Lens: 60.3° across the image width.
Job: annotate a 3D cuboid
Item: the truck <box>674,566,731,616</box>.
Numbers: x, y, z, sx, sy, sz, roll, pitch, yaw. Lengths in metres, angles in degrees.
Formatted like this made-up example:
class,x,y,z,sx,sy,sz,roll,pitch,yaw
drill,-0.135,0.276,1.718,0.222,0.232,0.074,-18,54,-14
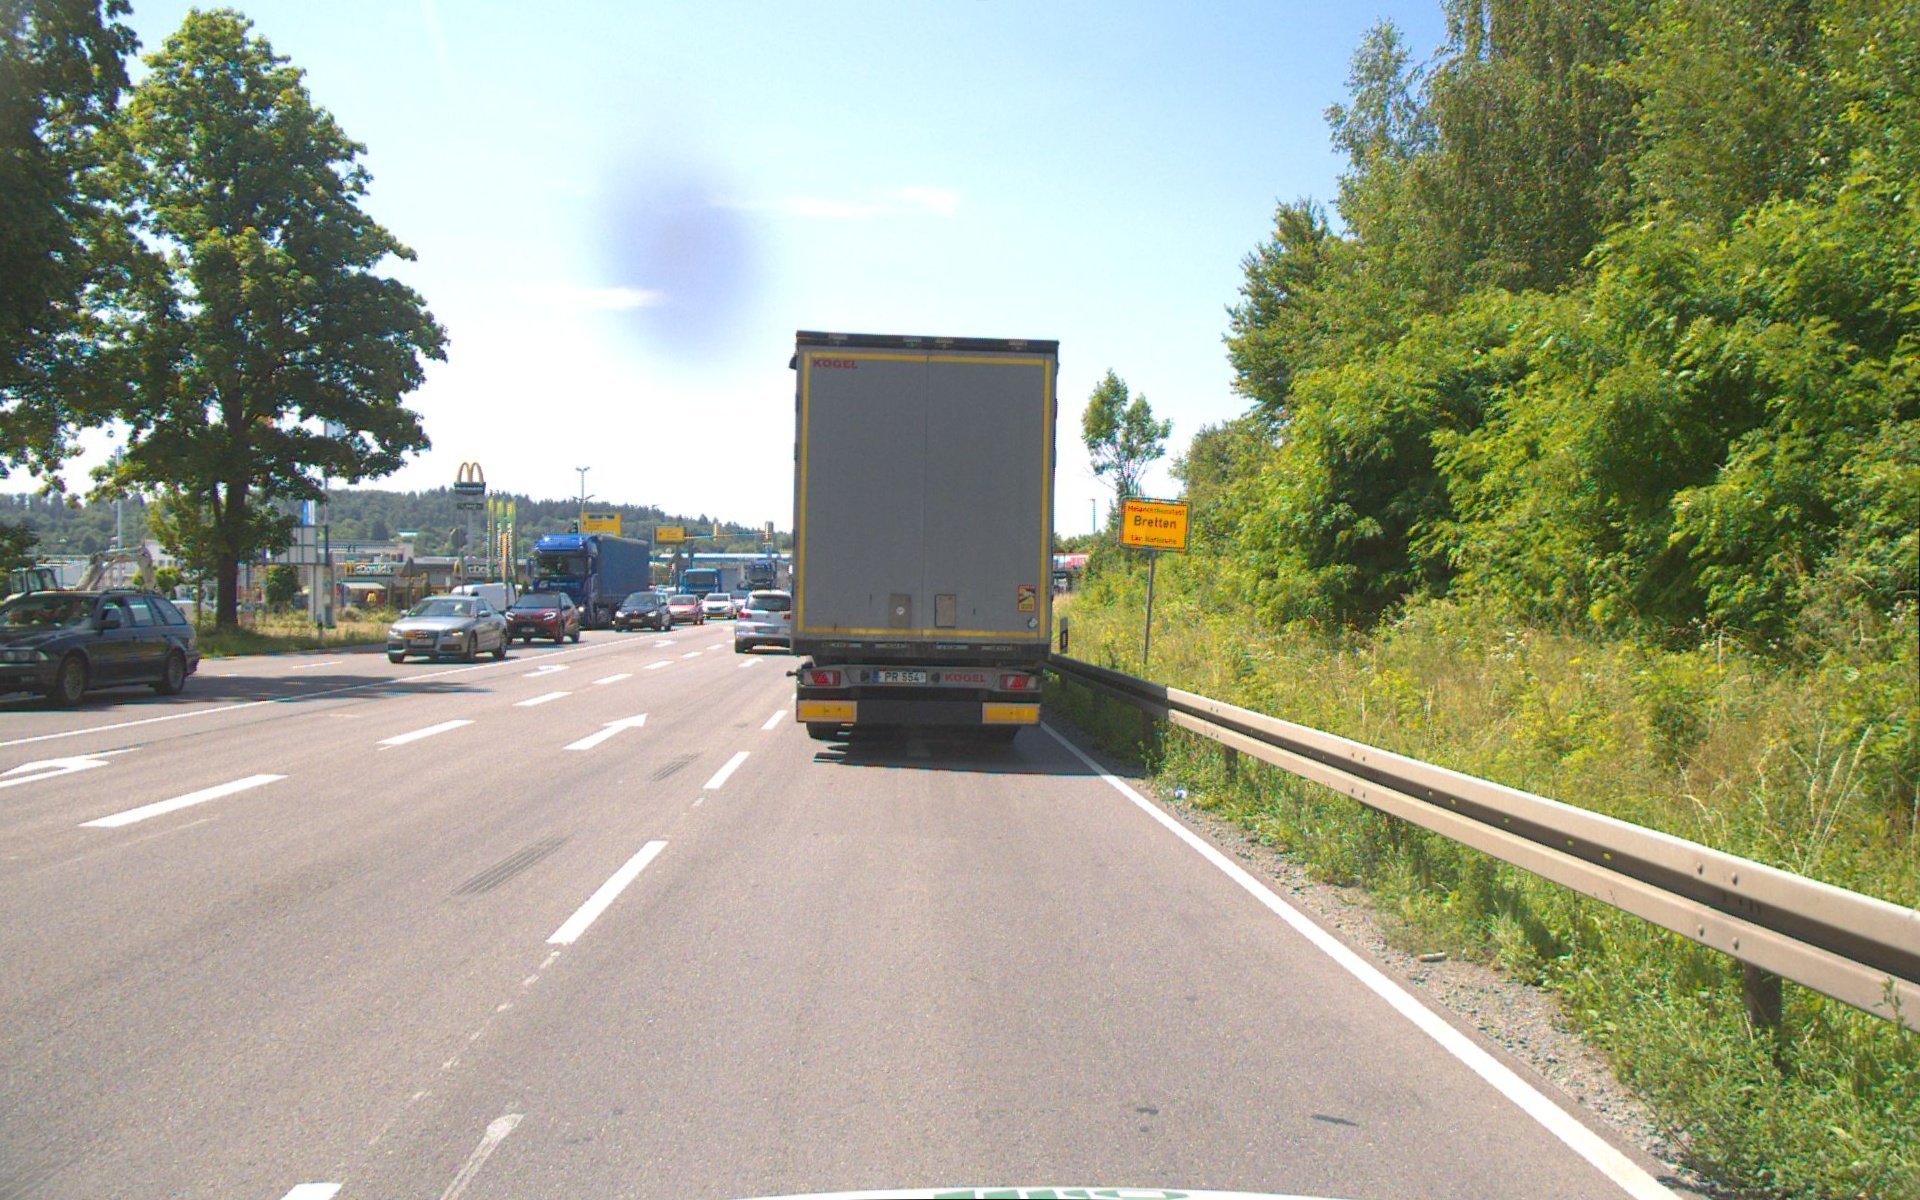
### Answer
class,x,y,z,sx,sy,sz,roll,pitch,yaw
truck,-18.390,-0.596,118.797,2.789,3.410,11.475,0,0,-3

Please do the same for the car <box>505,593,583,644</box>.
class,x,y,z,sx,sy,sz,roll,pitch,yaw
car,-12.591,0.539,50.236,1.609,1.463,4.013,0,0,-4

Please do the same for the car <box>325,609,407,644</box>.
class,x,y,z,sx,sy,sz,roll,pitch,yaw
car,-28.588,1.253,79.570,3.919,1.646,1.833,0,0,36

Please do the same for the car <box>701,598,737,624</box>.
class,x,y,z,sx,sy,sz,roll,pitch,yaw
car,-13.715,0.596,94.278,1.666,1.439,4.559,0,0,-4

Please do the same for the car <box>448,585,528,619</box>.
class,x,y,z,sx,sy,sz,roll,pitch,yaw
car,-31.114,0.141,109.088,1.956,2.221,5.183,0,0,30

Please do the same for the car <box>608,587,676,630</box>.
class,x,y,z,sx,sy,sz,roll,pitch,yaw
car,-12.678,0.341,66.247,1.880,1.506,4.685,-4,0,-2

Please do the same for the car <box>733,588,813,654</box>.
class,x,y,z,sx,sy,sz,roll,pitch,yaw
car,-5.140,0.557,45.870,1.768,1.699,4.291,1,0,-1

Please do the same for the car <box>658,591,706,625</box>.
class,x,y,z,sx,sy,sz,roll,pitch,yaw
car,-13.290,0.358,79.157,1.732,1.471,3.773,-4,0,-3

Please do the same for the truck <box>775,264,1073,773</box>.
class,x,y,z,sx,sy,sz,roll,pitch,yaw
truck,-0.478,-0.647,23.848,2.700,4.720,16.650,1,-1,-1

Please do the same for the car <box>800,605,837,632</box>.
class,x,y,z,sx,sy,sz,roll,pitch,yaw
car,-7.773,1.000,91.218,1.651,1.423,4.402,0,0,-1

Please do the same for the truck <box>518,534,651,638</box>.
class,x,y,z,sx,sy,sz,roll,pitch,yaw
truck,-16.989,-0.561,76.287,2.908,4.250,16.567,0,0,-2

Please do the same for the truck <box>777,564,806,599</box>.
class,x,y,z,sx,sy,sz,roll,pitch,yaw
truck,-20.155,-2.113,198.529,2.876,4.019,14.226,0,0,-4

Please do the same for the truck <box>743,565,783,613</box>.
class,x,y,z,sx,sy,sz,roll,pitch,yaw
truck,-19.086,-0.984,161.140,3.084,4.425,17.525,0,0,-5

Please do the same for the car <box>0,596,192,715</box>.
class,x,y,z,sx,sy,sz,roll,pitch,yaw
car,-11.811,0.673,21.674,1.731,1.411,3.997,1,-1,-3

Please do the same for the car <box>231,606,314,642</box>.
class,x,y,z,sx,sy,sz,roll,pitch,yaw
car,-32.340,1.113,77.770,3.919,1.646,1.833,0,0,36

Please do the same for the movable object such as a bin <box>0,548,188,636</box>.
class,x,y,z,sx,sy,sz,roll,pitch,yaw
movable object such as a bin,-34.962,-0.327,66.263,2.994,3.356,6.761,0,0,38

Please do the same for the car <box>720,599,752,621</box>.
class,x,y,z,sx,sy,sz,roll,pitch,yaw
car,-14.794,0.647,109.454,1.726,1.453,4.178,0,0,-2

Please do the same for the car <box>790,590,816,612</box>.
class,x,y,z,sx,sy,sz,roll,pitch,yaw
car,-15.951,0.107,168.211,2.441,2.049,5.524,1,-1,-4

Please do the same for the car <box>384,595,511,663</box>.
class,x,y,z,sx,sy,sz,roll,pitch,yaw
car,-11.334,0.641,36.842,1.731,1.411,3.997,1,-1,-3
